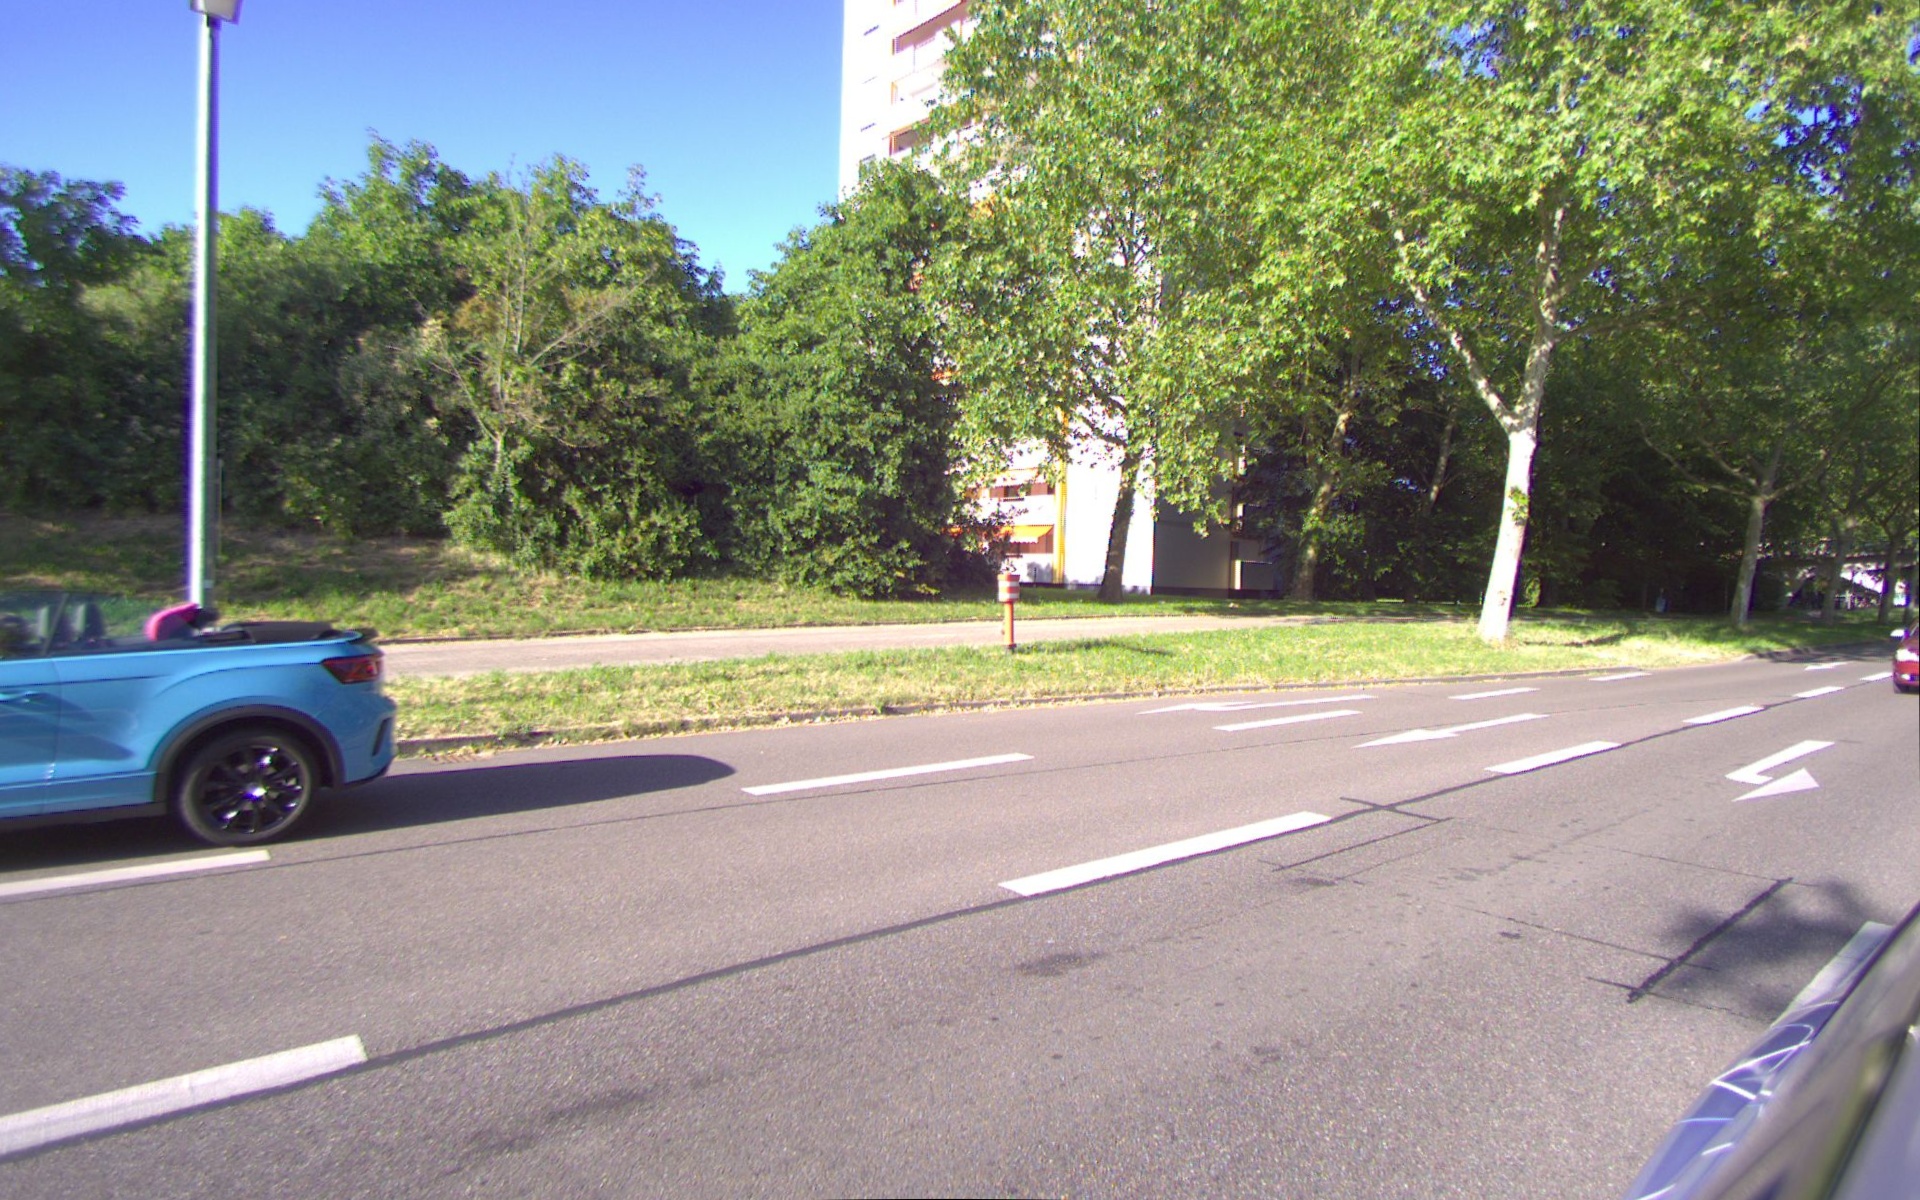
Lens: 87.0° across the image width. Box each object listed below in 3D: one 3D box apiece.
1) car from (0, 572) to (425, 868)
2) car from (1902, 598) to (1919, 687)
[{"bbox_3d":[-5.426,0.587,5.703,4.054,1.468,1.739,0,1,-37],"label":"car"},{"bbox_3d":[17.656,0.692,17.410,3.693,1.456,1.646,-1,1,-39],"label":"car"}]
